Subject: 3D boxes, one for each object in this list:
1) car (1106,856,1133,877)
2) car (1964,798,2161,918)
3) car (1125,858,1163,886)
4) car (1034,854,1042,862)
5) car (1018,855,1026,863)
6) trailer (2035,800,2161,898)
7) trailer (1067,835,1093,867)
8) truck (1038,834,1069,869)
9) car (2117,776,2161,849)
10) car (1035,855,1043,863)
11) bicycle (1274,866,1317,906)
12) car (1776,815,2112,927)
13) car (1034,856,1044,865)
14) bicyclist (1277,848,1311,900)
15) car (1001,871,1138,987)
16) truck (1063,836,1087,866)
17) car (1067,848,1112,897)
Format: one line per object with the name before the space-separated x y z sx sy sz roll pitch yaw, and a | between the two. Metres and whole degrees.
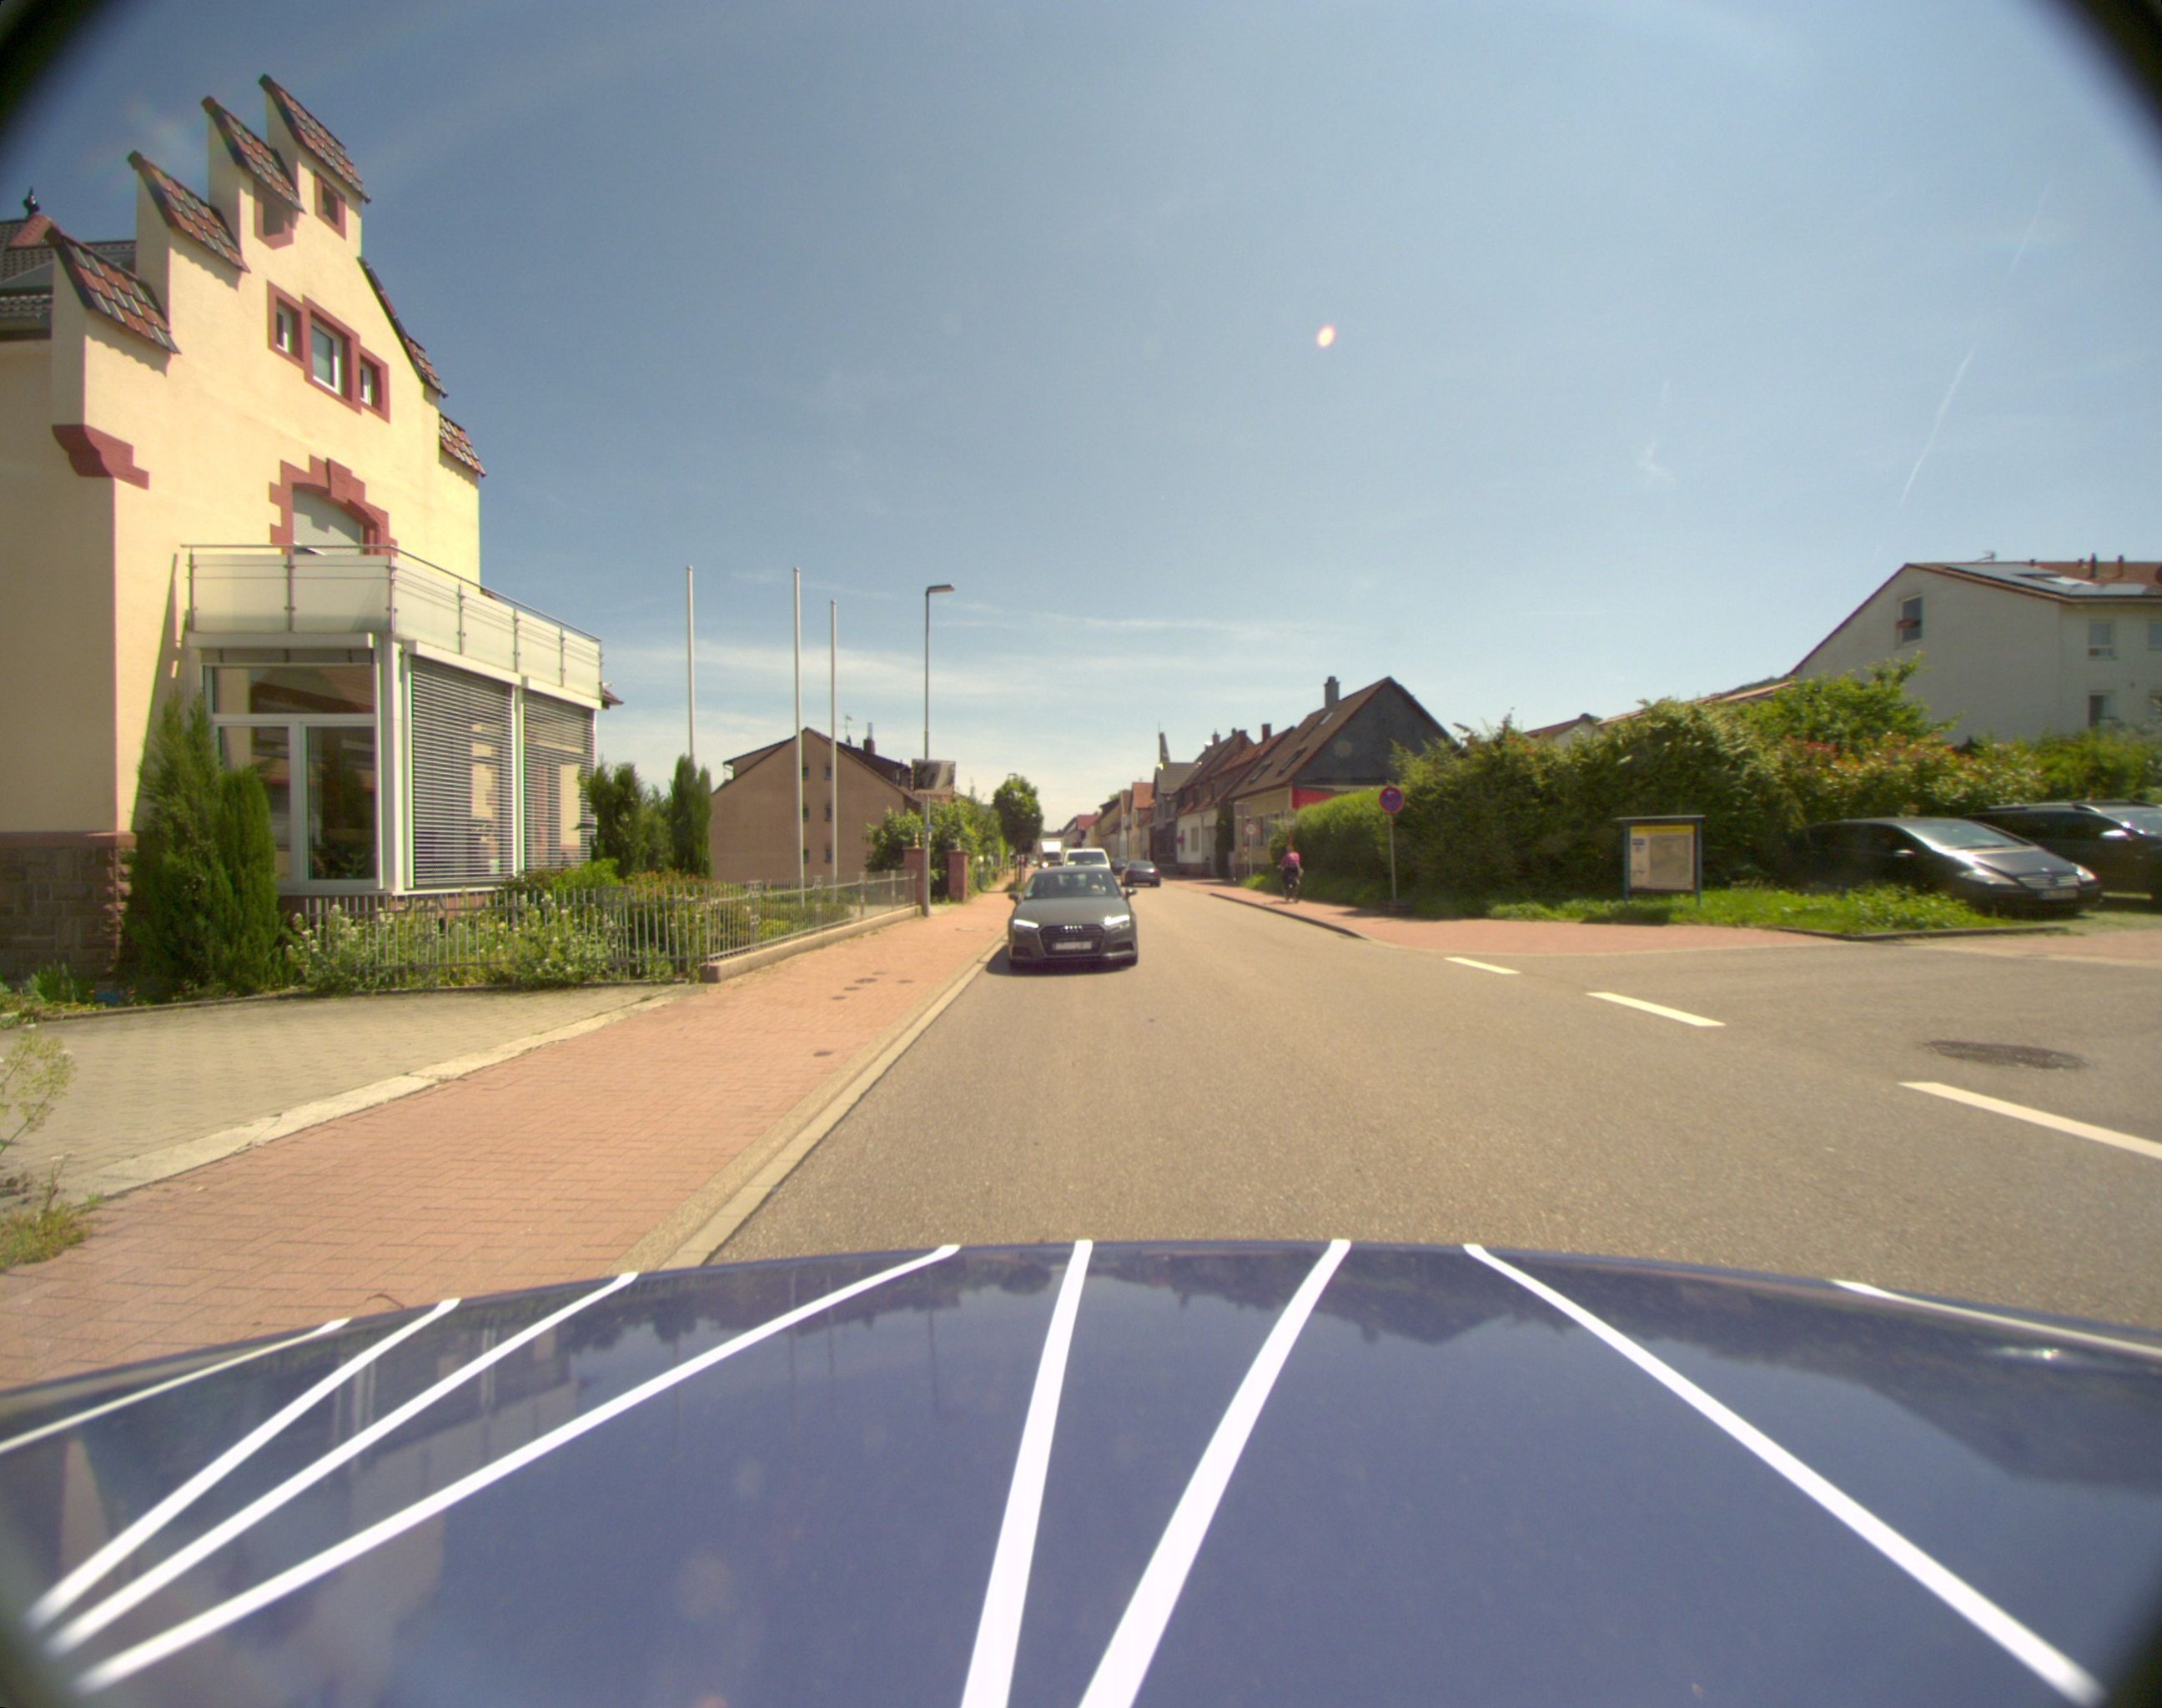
car | 2.787 0.864 55.339 1.734 1.452 4.694 0 0 0
car | 16.989 0.011 12.182 1.627 1.769 3.511 -3 0 4
car | 3.261 0.921 40.031 1.710 1.362 3.868 1 0 1
car | -9.307 0.843 163.766 1.508 1.432 3.534 -3 1 -5
car | -11.670 0.948 150.189 1.637 1.572 3.568 1 0 -4
trailer | 19.500 -0.120 13.562 1.430 1.654 2.691 -5 0 -4
trailer | -0.183 -0.374 91.381 2.537 3.627 8.458 0 0 -4
truck | -3.167 -0.267 84.009 2.899 3.516 12.948 -1 0 -4
car | 27.217 -1.064 17.941 3.639 1.724 1.420 -3 1 -2
car | -8.184 0.996 147.398 1.508 1.432 3.534 -3 1 -5
bicycle | 6.372 0.923 22.676 0.672 1.050 2.026 -4 0 0
car | 14.231 0.232 12.889 1.627 1.532 3.652 -3 0 4
car | -7.263 1.155 131.314 1.508 1.432 3.534 -3 1 -5
bicyclist | 6.350 0.589 22.687 0.660 1.485 0.909 -4 1 0
car | -0.161 0.999 11.708 1.705 1.346 4.000 -2 0 0
truck | -0.827 -0.377 100.636 2.574 3.679 10.074 0 0 -4
car | 0.271 0.696 30.298 1.637 1.833 3.569 -1 0 -1
